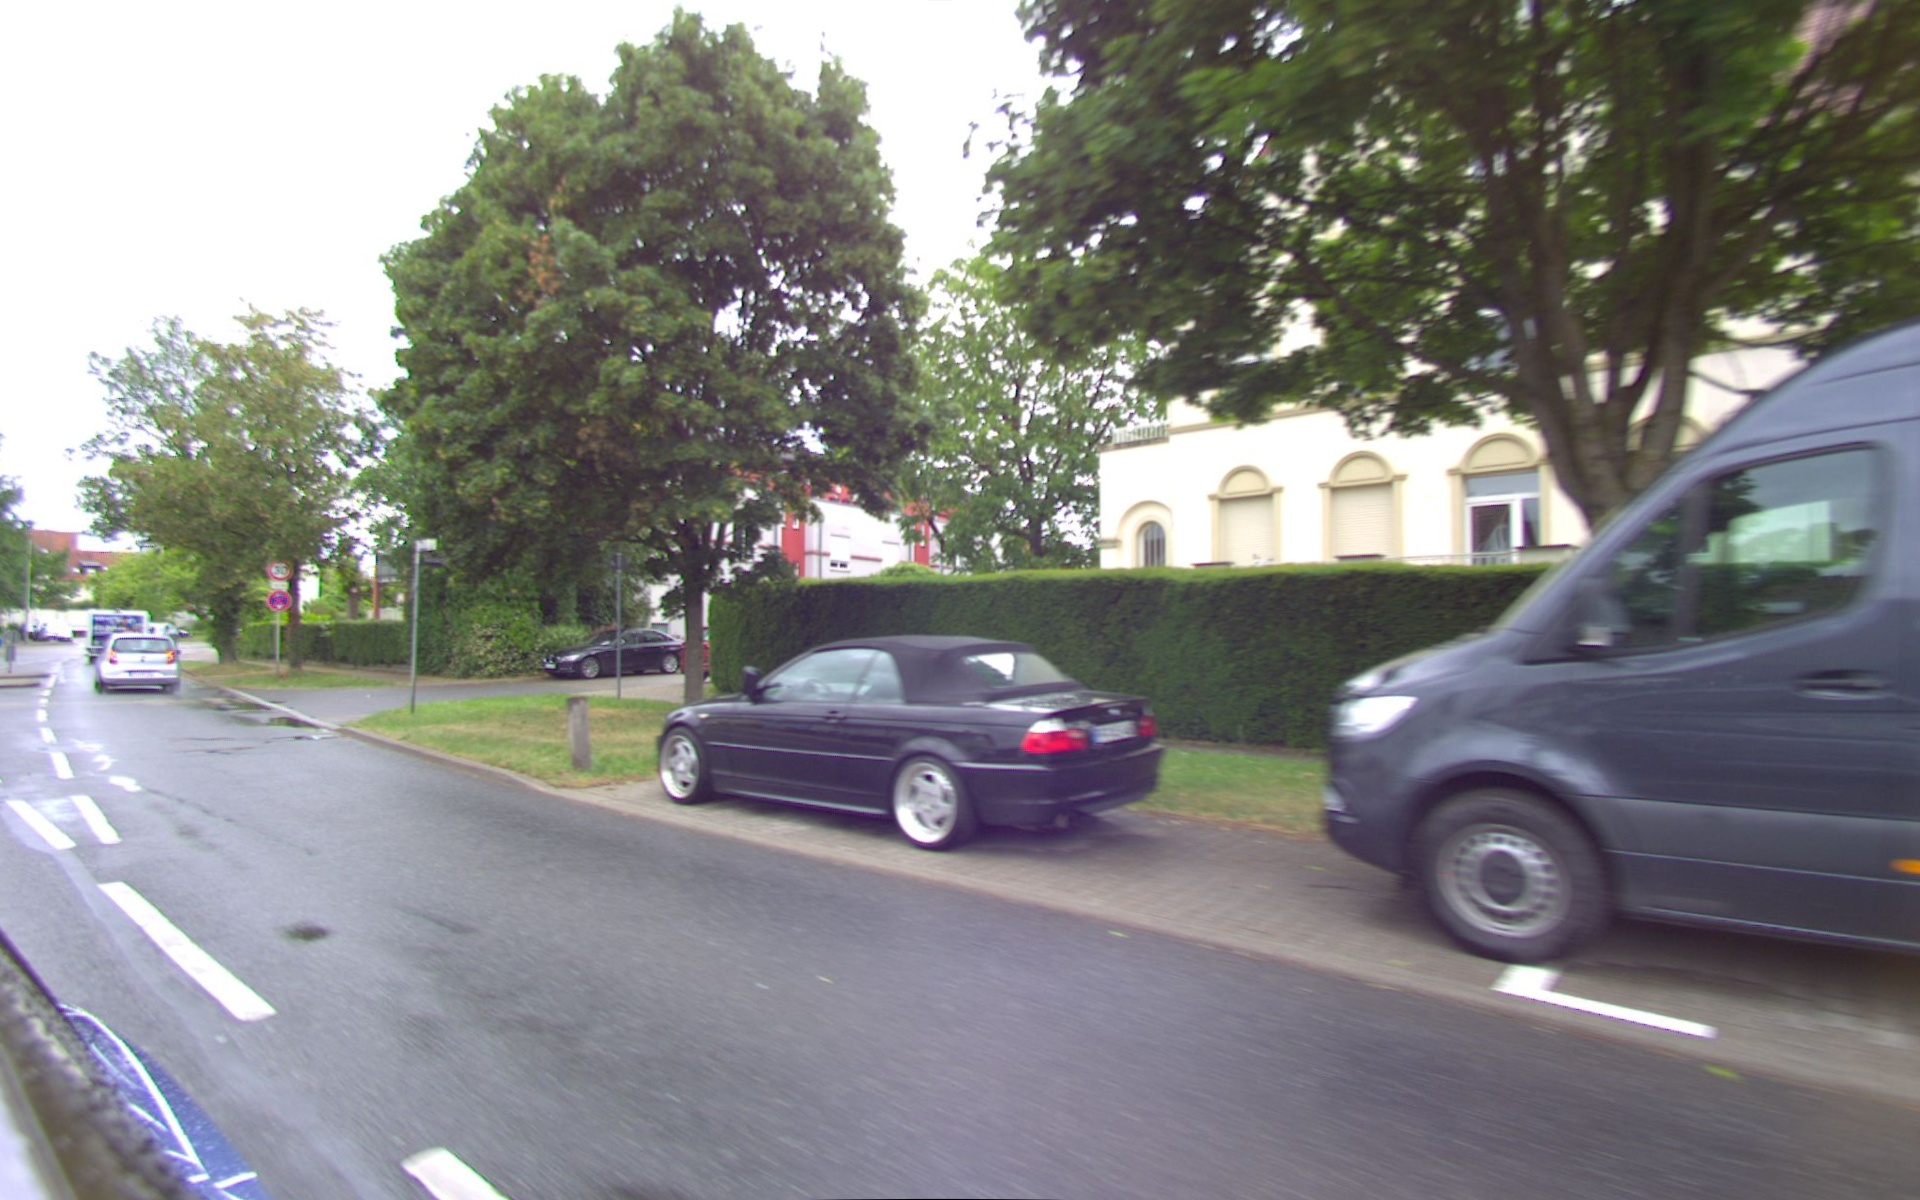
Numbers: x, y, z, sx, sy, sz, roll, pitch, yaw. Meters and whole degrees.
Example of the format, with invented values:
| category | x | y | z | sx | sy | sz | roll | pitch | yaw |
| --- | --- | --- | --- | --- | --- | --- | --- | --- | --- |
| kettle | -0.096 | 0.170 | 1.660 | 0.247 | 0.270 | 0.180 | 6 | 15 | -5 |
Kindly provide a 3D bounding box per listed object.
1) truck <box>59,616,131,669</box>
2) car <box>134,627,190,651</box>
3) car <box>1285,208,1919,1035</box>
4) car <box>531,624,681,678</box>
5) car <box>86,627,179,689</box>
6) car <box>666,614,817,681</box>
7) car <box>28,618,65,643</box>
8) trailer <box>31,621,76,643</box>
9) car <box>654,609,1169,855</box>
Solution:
| category | x | y | z | sx | sy | sz | roll | pitch | yaw |
| --- | --- | --- | --- | --- | --- | --- | --- | --- | --- |
| truck | -38.791 | 1.884 | 45.303 | 2.190 | 2.220 | 6.471 | 2 | -3 | -42 |
| car | -53.755 | 2.604 | 68.251 | 1.810 | 1.562 | 4.013 | 1 | -2 | -21 |
| car | 4.436 | 0.050 | 3.583 | 5.935 | 2.749 | 1.973 | -2 | -1 | 41 |
| car | -10.534 | 1.490 | 30.345 | 1.690 | 1.485 | 3.979 | -1 | -2 | 36 |
| car | -21.206 | 1.436 | 25.892 | 1.575 | 1.475 | 3.456 | 2 | -3 | -43 |
| car | -5.909 | 1.256 | 27.756 | 1.688 | 1.665 | 3.983 | -4 | -3 | 33 |
| car | -71.868 | 2.391 | 79.598 | 1.970 | 1.895 | 4.215 | 2 | -2 | -45 |
| trailer | -67.541 | 2.364 | 75.409 | 4.424 | 1.555 | 1.972 | -1 | -2 | 42 |
| car | -0.518 | 0.835 | 7.766 | 3.823 | 1.419 | 1.705 | -2 | -3 | 40 |
